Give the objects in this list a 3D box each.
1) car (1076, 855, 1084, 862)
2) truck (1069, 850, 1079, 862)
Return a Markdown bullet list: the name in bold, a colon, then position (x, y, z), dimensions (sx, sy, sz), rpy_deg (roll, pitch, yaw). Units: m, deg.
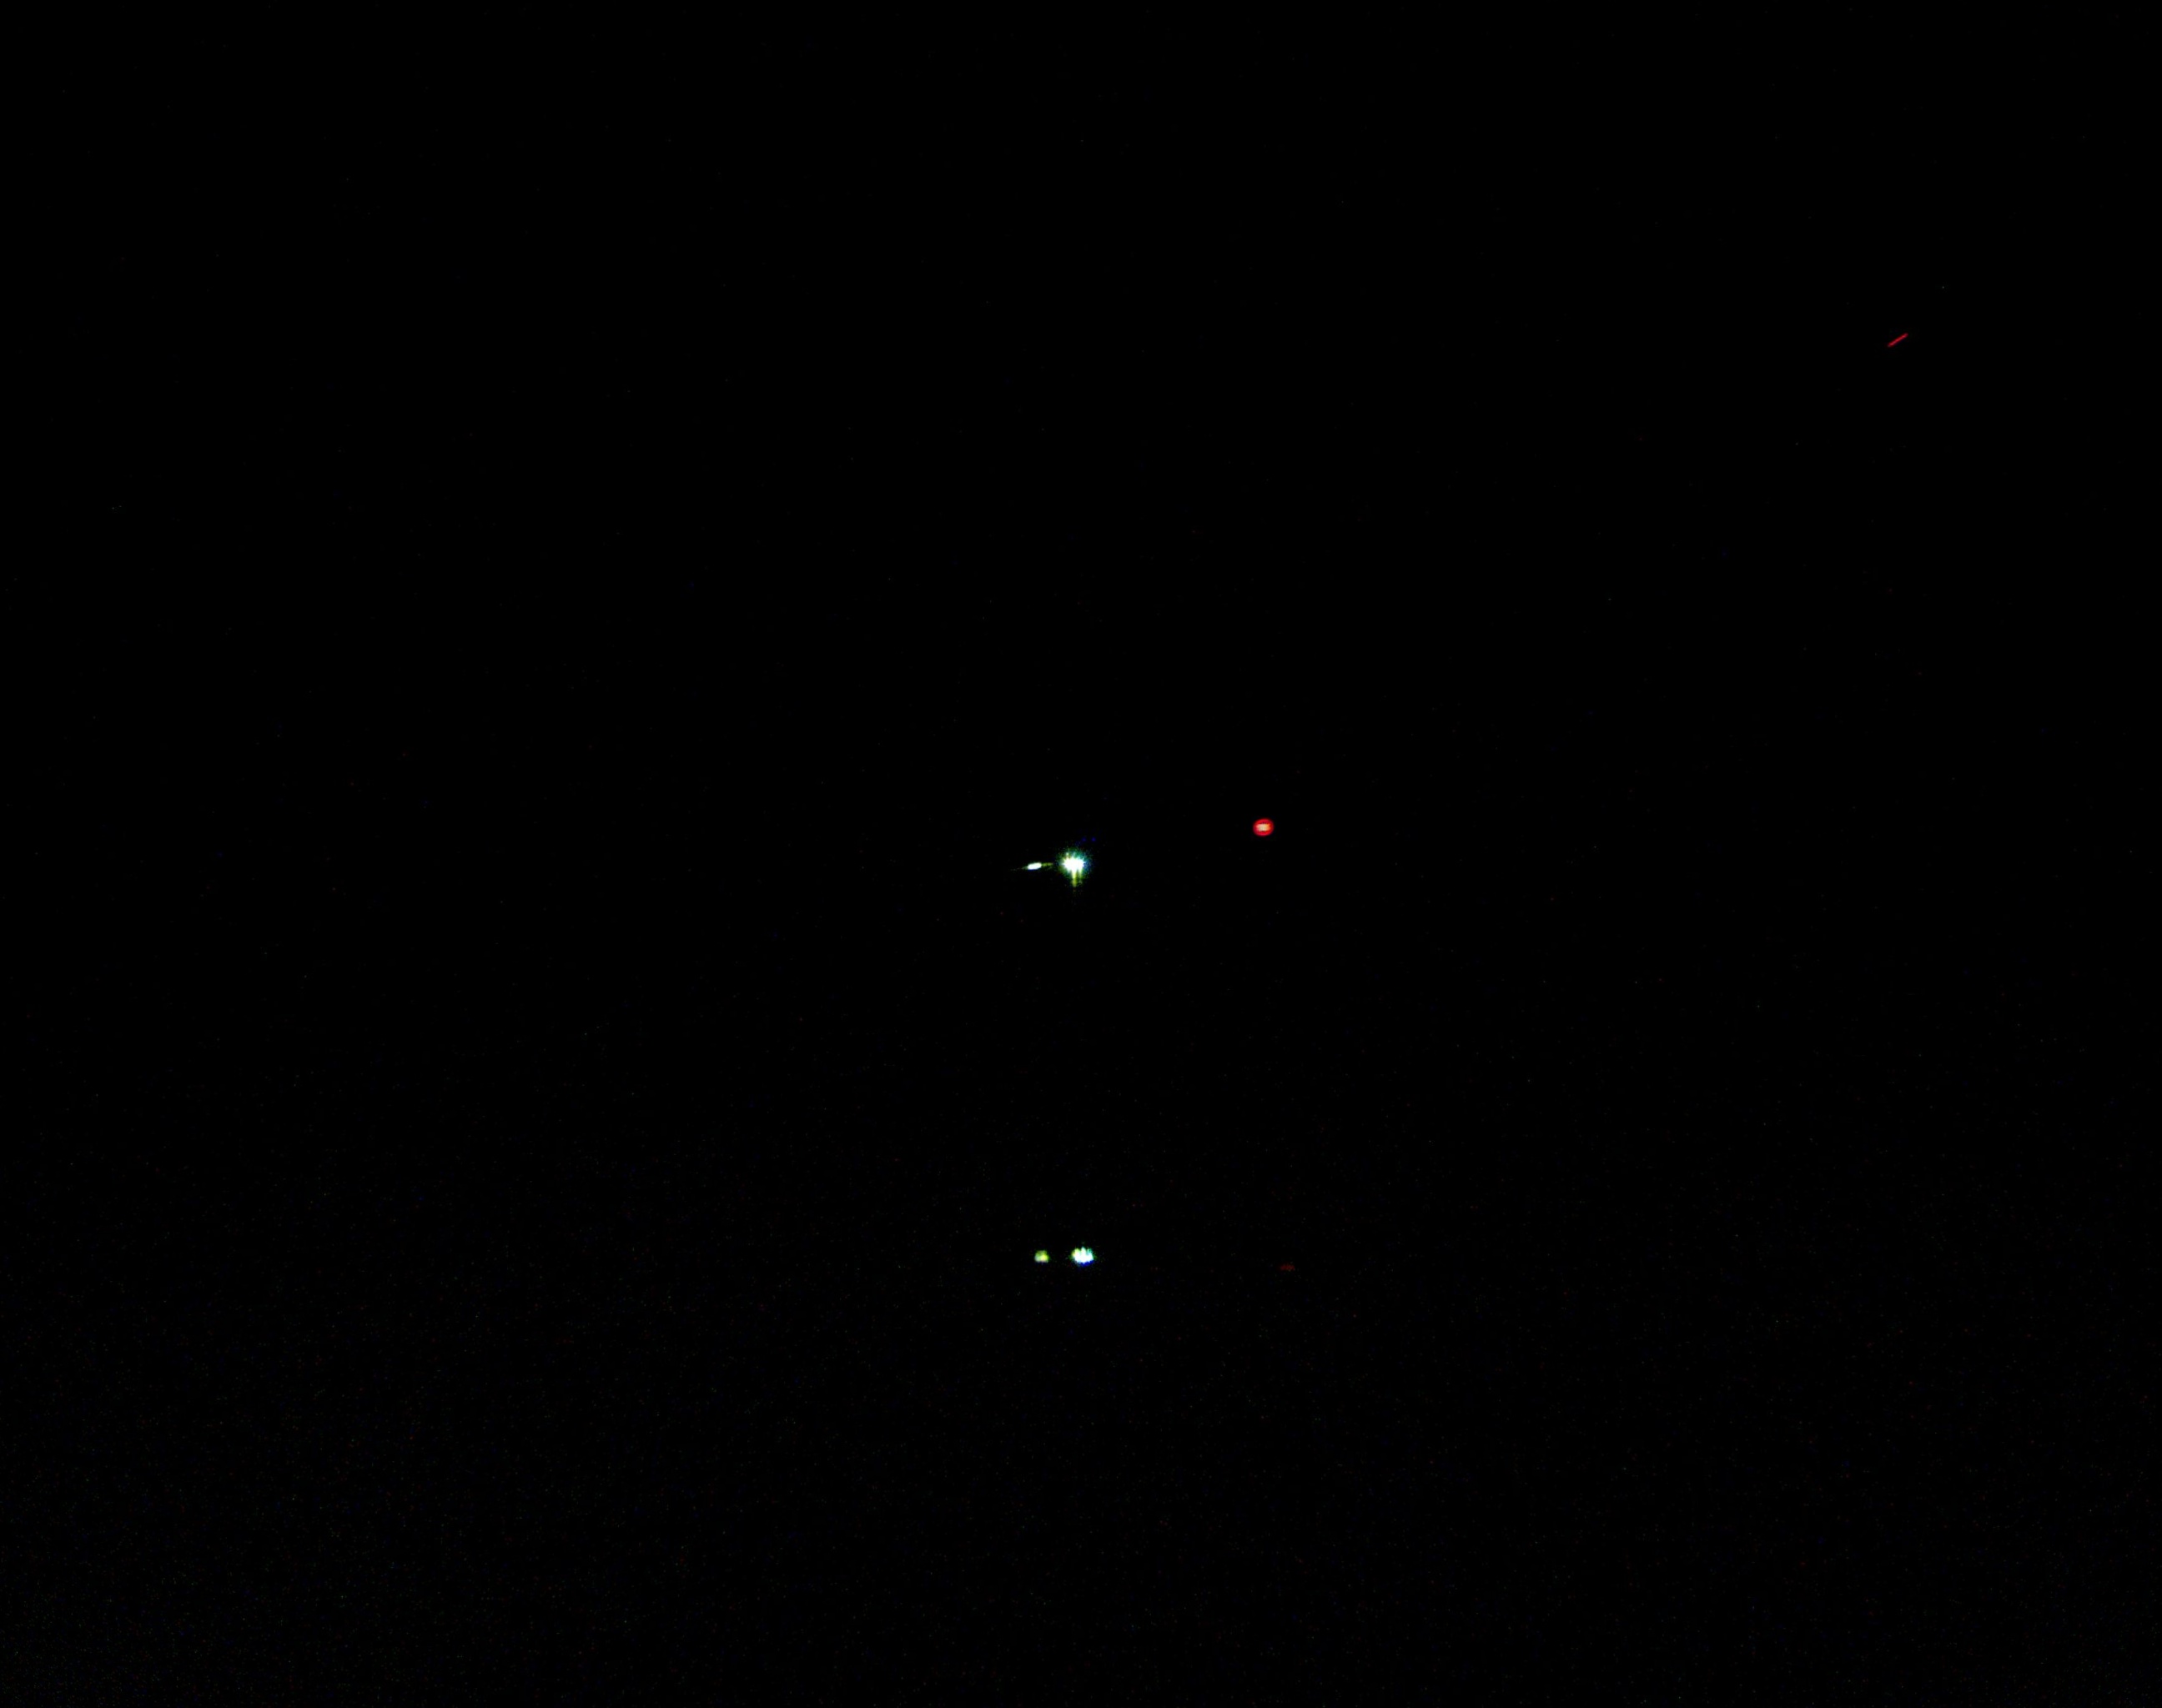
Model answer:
- **car**: position (-0.218, 1.094, 177.888), dimensions (1.846, 1.474, 4.293), rpy_deg (-2, -1, 1)
- **truck**: position (-2.339, 0.674, 250.325), dimensions (3.004, 3.876, 12.888), rpy_deg (-2, -1, -1)
